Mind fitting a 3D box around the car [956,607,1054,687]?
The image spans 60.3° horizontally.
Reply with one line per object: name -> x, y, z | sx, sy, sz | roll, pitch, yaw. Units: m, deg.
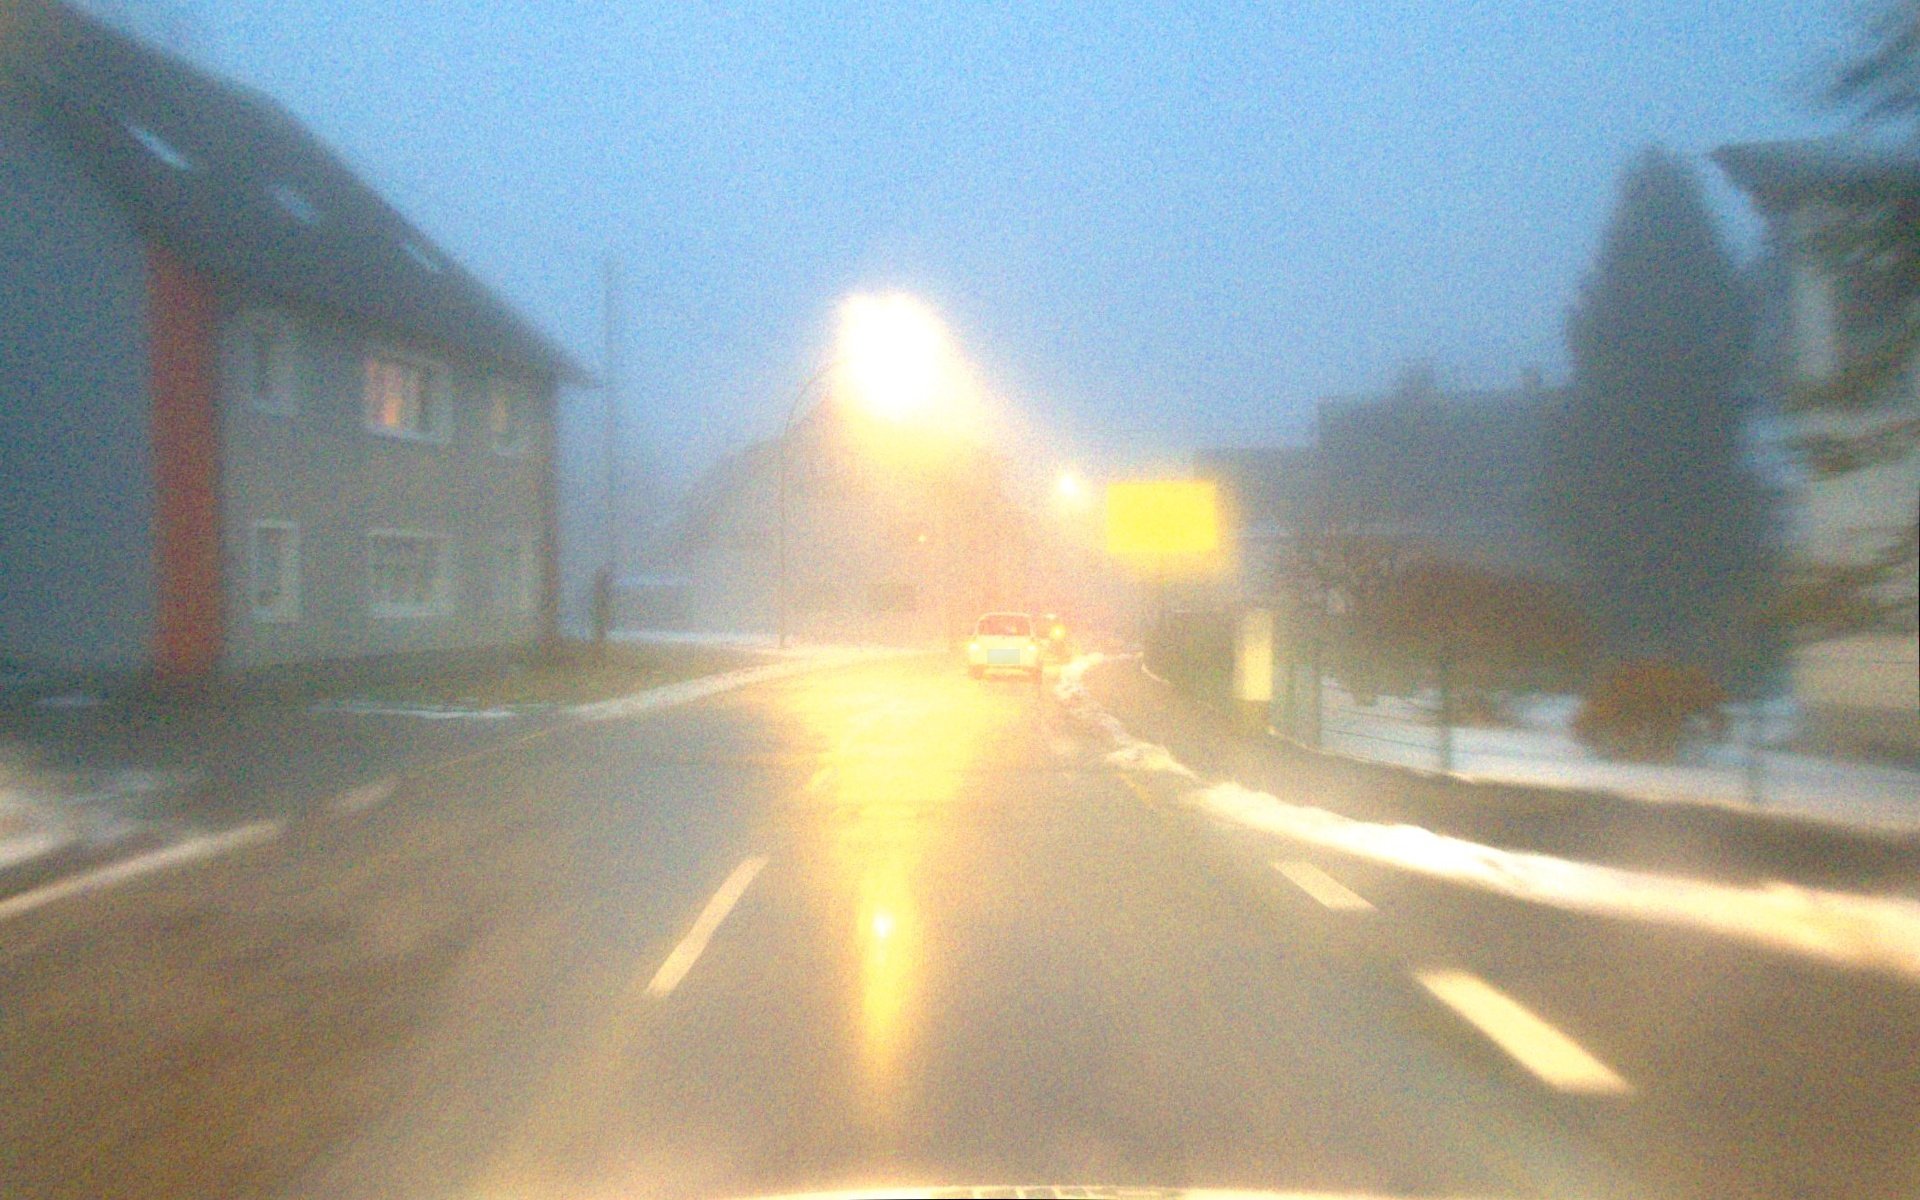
car -> 1.065, 1.019, 37.362 | 1.951, 1.534, 4.003 | -2, 1, 5

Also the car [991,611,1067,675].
car -> 2.313, 1.377, 54.518 | 1.951, 1.869, 4.004 | -2, 1, 10
